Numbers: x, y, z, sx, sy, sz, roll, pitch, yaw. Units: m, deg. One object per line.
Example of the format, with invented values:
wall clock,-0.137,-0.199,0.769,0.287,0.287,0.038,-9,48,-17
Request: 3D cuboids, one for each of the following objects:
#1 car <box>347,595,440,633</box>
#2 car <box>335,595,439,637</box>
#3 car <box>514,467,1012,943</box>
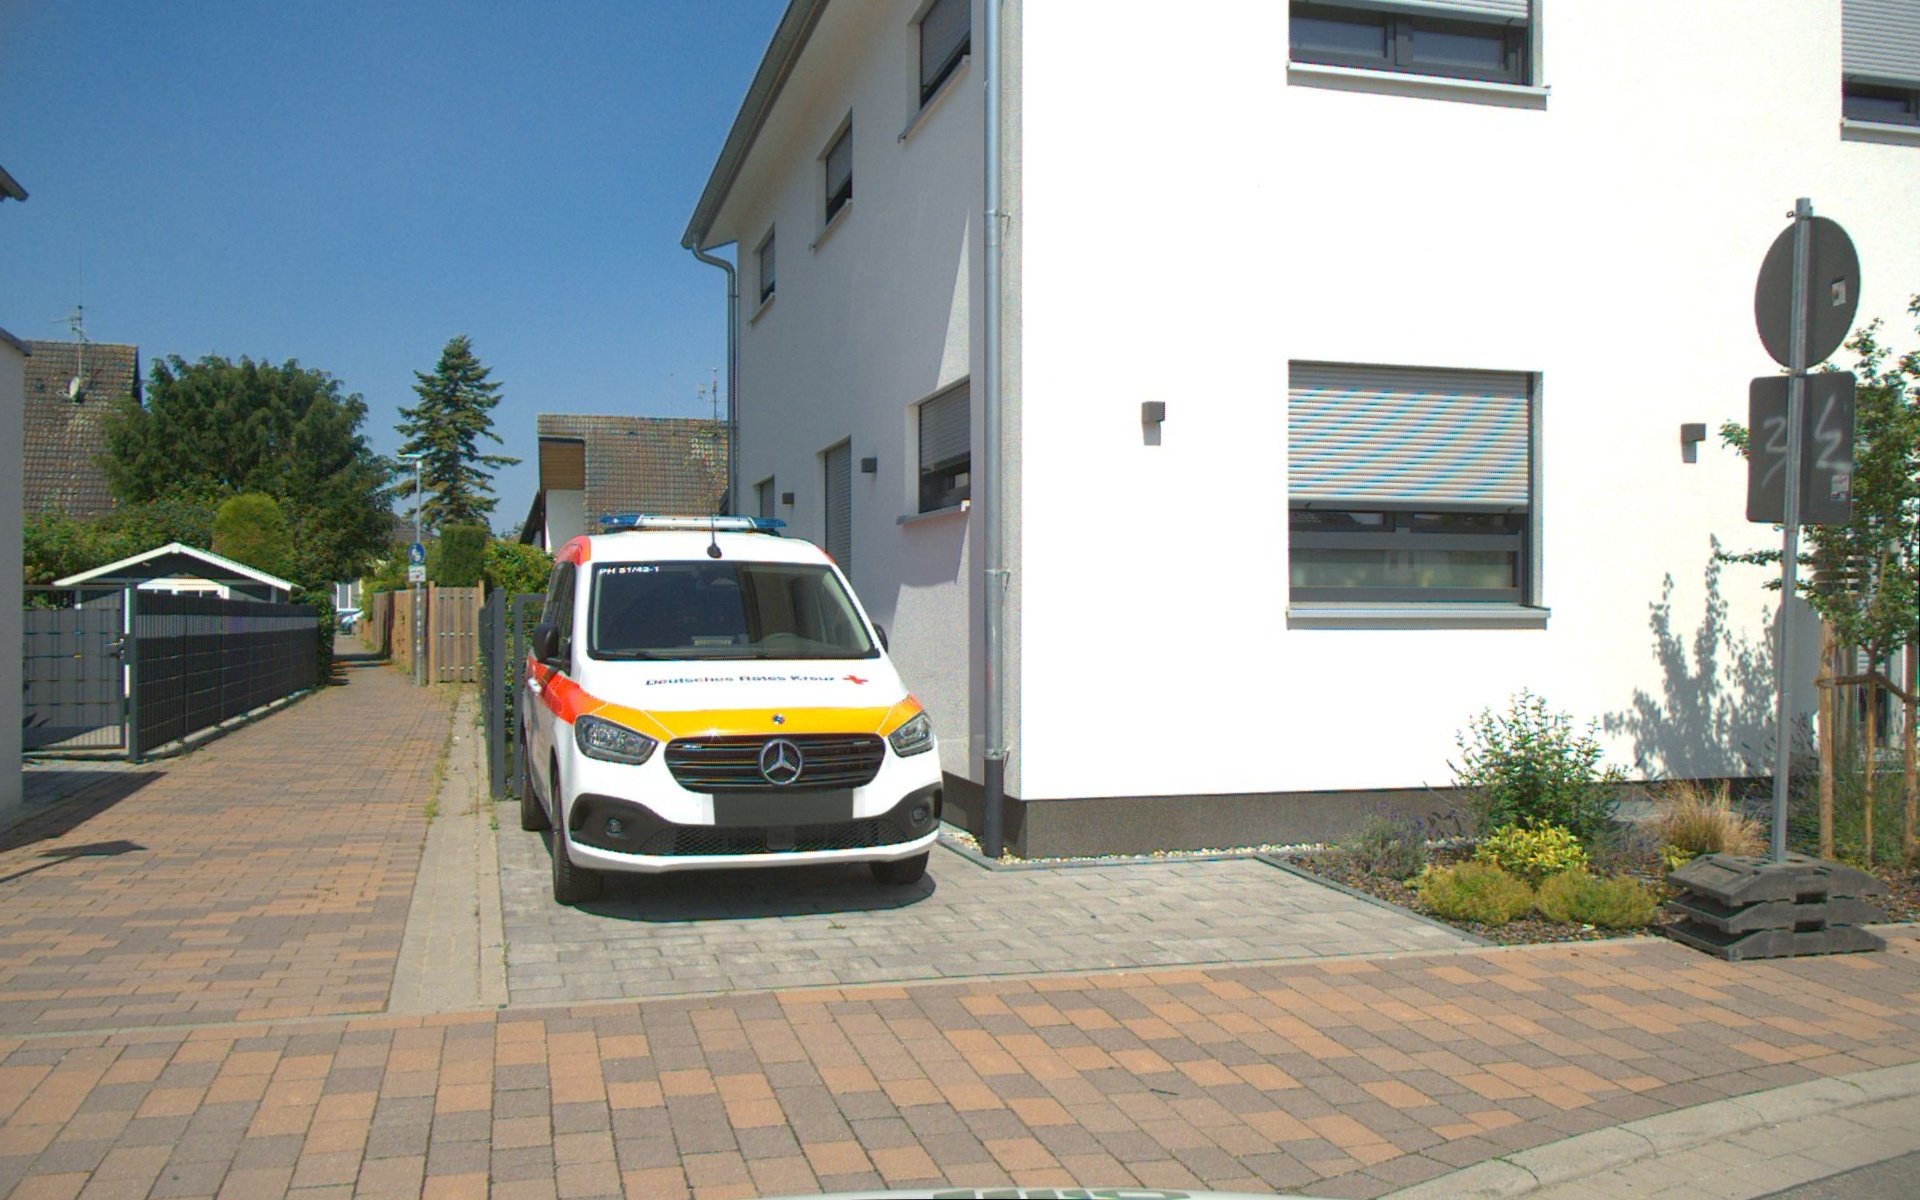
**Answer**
car,-26.767,0.659,78.253,4.083,1.747,1.896,0,0,-18
car,-24.206,0.680,69.988,4.083,1.747,1.896,0,0,-18
car,-1.384,0.440,9.185,1.902,1.908,4.728,0,-1,-18
